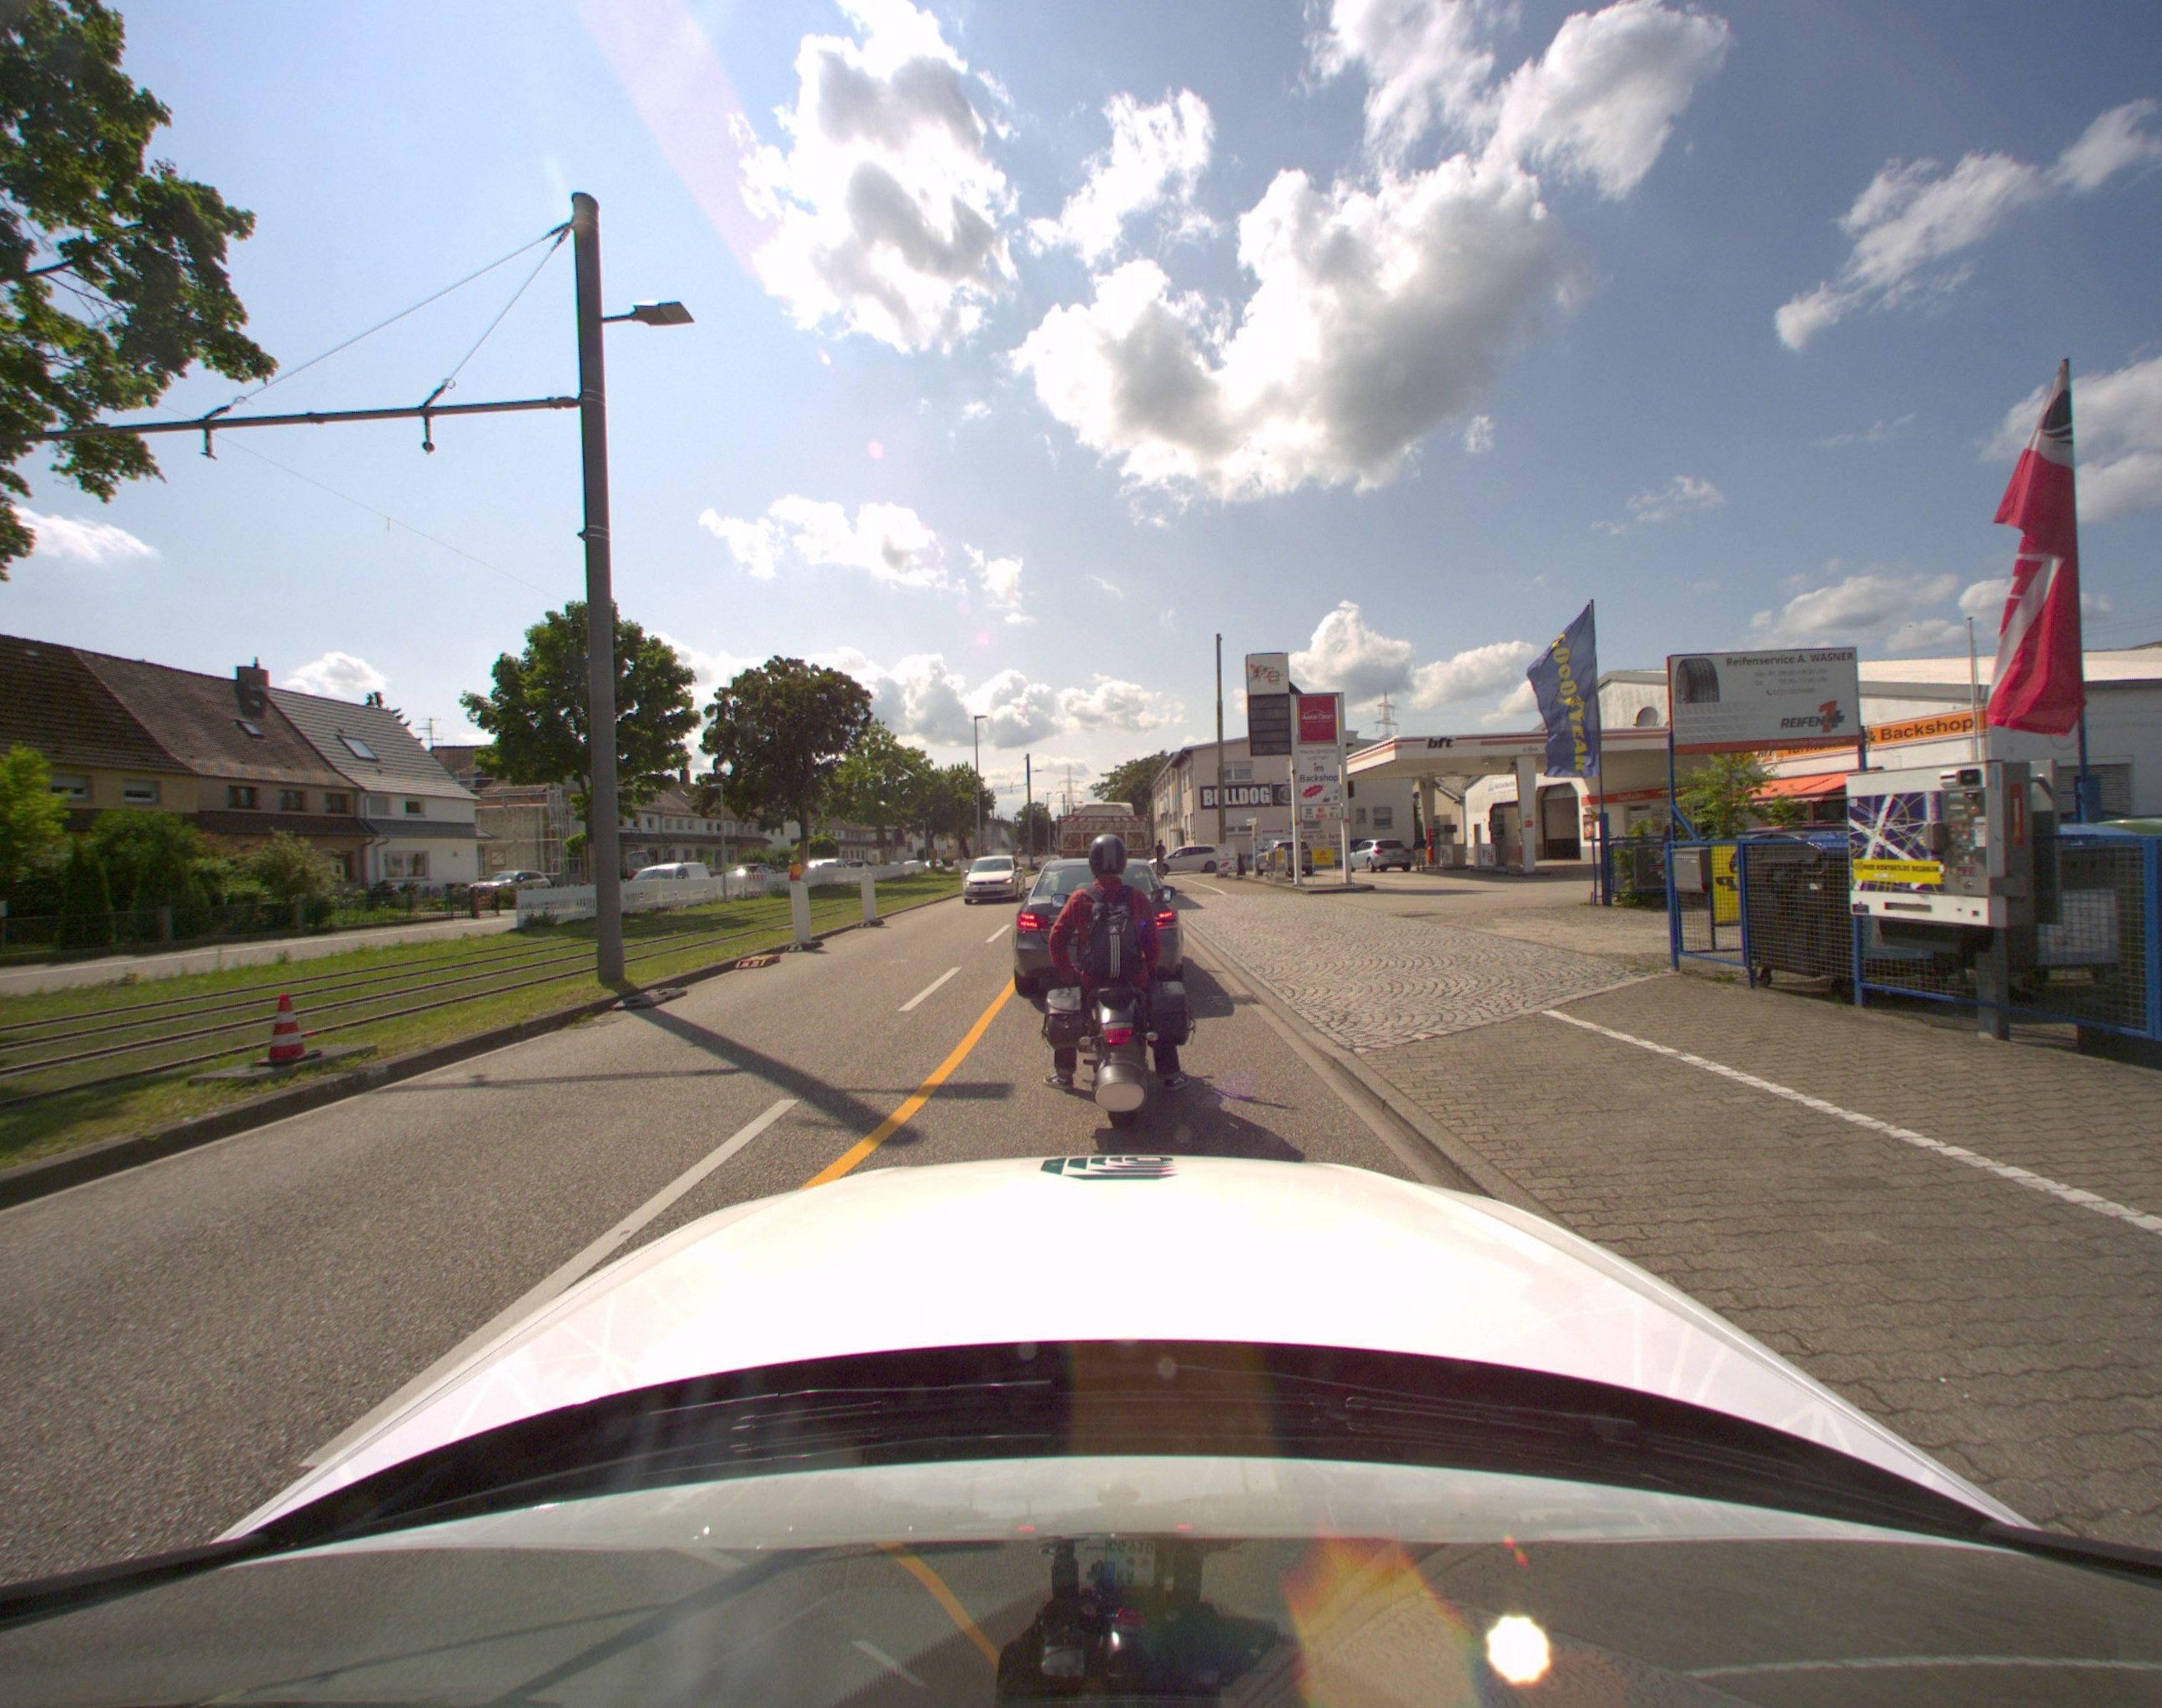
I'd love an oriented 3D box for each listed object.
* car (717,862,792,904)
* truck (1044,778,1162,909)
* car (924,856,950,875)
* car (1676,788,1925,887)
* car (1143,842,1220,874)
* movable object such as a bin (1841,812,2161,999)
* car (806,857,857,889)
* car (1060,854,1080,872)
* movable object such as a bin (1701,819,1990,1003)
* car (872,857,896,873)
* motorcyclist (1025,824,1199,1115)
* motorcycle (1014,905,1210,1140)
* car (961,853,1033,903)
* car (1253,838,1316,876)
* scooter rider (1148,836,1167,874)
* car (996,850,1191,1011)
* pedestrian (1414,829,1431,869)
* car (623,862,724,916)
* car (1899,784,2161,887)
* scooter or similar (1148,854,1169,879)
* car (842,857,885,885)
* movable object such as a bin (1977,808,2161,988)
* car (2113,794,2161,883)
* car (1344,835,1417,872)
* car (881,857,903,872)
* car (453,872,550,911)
[{"bbox_3d":[-15.326,1.317,38.490,1.692,1.739,4.056,-2,0,2],"label":"car"},{"bbox_3d":[0.641,-0.288,25.607,2.960,3.304,8.407,-2,0,1],"label":"truck"},{"bbox_3d":[-14.184,1.142,80.404,1.692,1.739,3.862,-2,0,2],"label":"car"},{"bbox_3d":[16.601,-0.377,18.964,3.972,2.013,2.001,-2,0,1],"label":"car"},{"bbox_3d":[5.766,0.220,47.052,4.100,1.624,1.682,-3,0,-7],"label":"car"},{"bbox_3d":[8.103,0.410,7.283,1.222,1.454,1.455,-2,0,0],"label":"movable object such as a bin"},{"bbox_3d":[-15.071,1.103,49.395,1.692,1.739,3.862,-2,0,2],"label":"car"},{"bbox_3d":[-1.034,0.845,77.416,1.674,1.624,4.120,-2,0,1],"label":"car"},{"bbox_3d":[6.823,0.465,7.407,1.222,1.454,1.455,-2,0,0],"label":"movable object such as a bin"},{"bbox_3d":[-24.048,1.325,99.345,1.692,1.739,4.064,-2,0,2],"label":"car"},{"bbox_3d":[0.193,0.648,5.199,0.966,1.633,1.215,-1,0,1],"label":"motorcyclist"},{"bbox_3d":[0.194,0.926,5.316,0.972,1.013,2.433,-1,0,2],"label":"motorcycle"},{"bbox_3d":[-2.658,0.732,26.564,1.709,1.413,4.264,-2,0,2],"label":"car"},{"bbox_3d":[9.068,0.115,36.579,1.826,1.536,4.009,-3,0,1],"label":"car"},{"bbox_3d":[3.735,0.055,39.748,0.793,1.818,0.508,-2,0,-2],"label":"scooter rider"},{"bbox_3d":[0.147,0.733,9.897,1.826,1.479,4.009,-3,0,1],"label":"car"},{"bbox_3d":[14.841,-0.216,35.391,0.628,1.683,0.626,-2,0,23],"label":"pedestrian"},{"bbox_3d":[-15.418,1.271,31.060,1.692,1.817,3.862,-2,0,2],"label":"car"},{"bbox_3d":[21.244,-0.406,18.138,3.972,2.013,2.001,-2,0,1],"label":"car"},{"bbox_3d":[3.762,0.596,39.783,0.793,1.144,1.518,-2,0,-1],"label":"scooter or similar"},{"bbox_3d":[-14.868,1.132,55.761,1.692,1.739,3.862,-2,0,2],"label":"car"},{"bbox_3d":[9.448,0.330,7.193,1.425,1.454,1.455,-2,0,0],"label":"movable object such as a bin"},{"bbox_3d":[26.351,-0.439,18.187,3.972,2.013,2.001,-2,0,1],"label":"car"},{"bbox_3d":[13.538,-0.030,37.072,1.826,1.479,4.009,-3,0,1],"label":"car"},{"bbox_3d":[-24.377,1.333,105.369,1.692,1.739,4.064,-2,0,2],"label":"car"},{"bbox_3d":[-27.479,1.723,38.797,1.692,1.593,3.862,-2,0,2],"label":"car"}]
